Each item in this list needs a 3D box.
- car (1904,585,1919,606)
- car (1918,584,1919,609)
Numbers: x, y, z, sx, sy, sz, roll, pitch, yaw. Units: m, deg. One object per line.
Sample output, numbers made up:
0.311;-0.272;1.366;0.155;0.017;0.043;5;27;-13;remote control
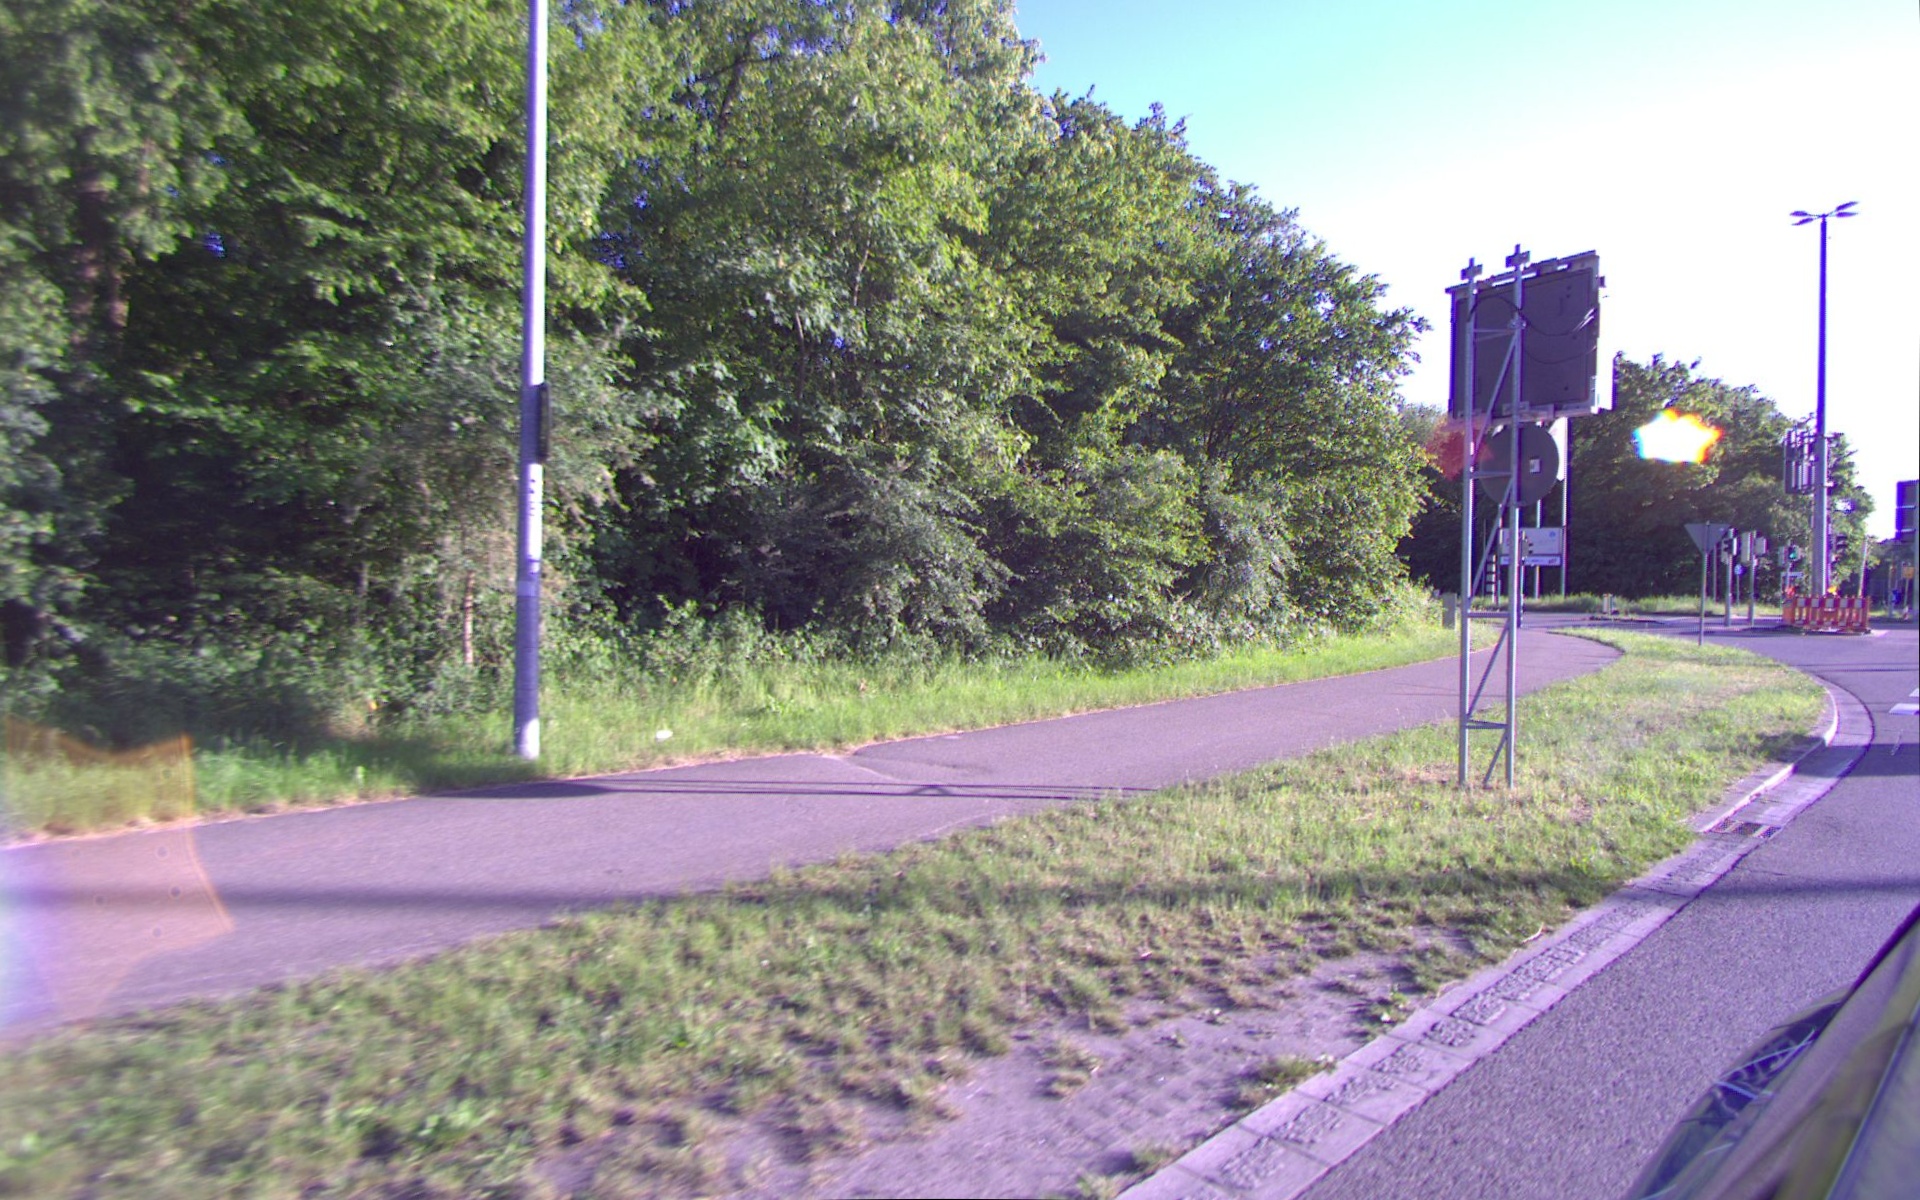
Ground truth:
76.894;-0.376;80.829;3.935;1.538;1.995;-2;1;-44;car
65.432;-0.269;67.565;3.935;1.538;1.995;-2;1;-44;car
